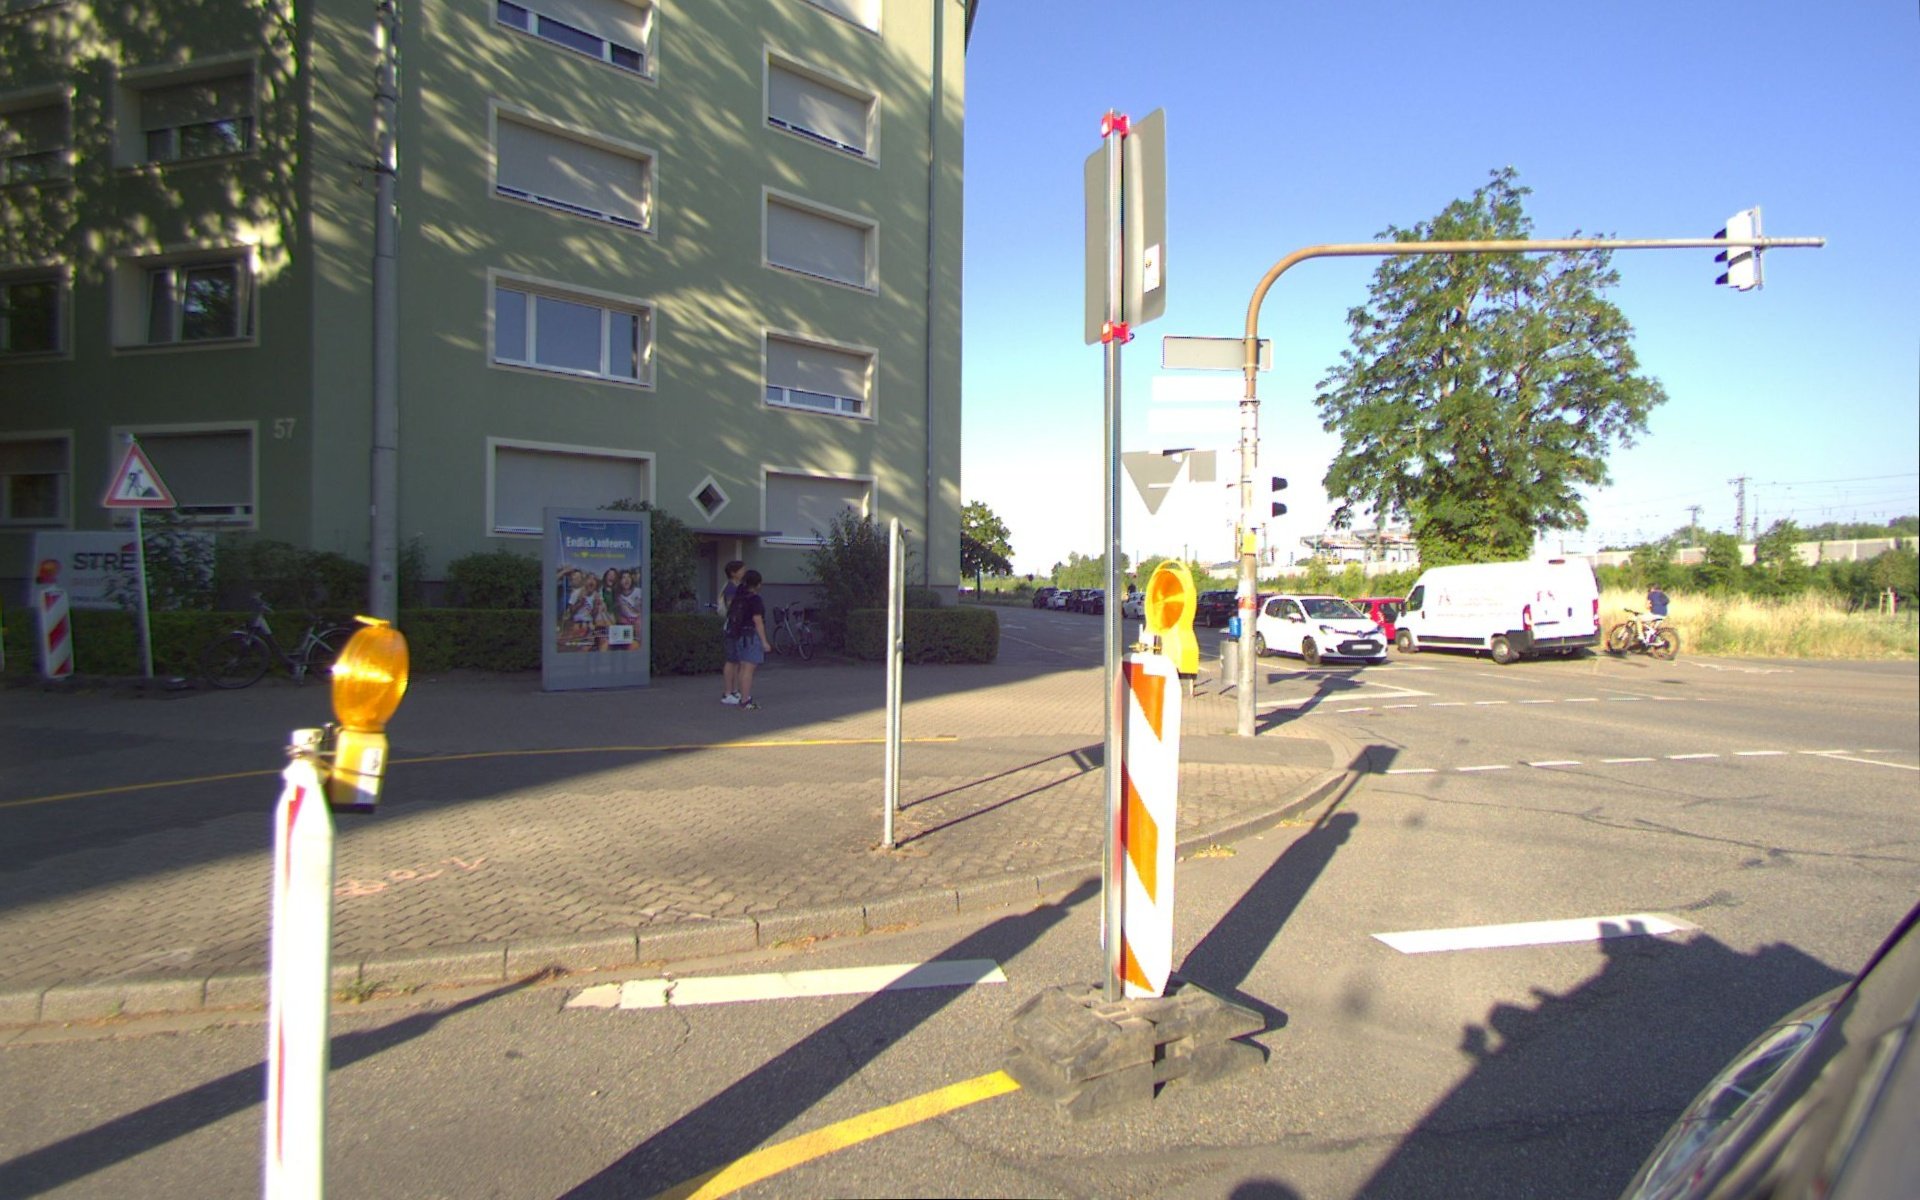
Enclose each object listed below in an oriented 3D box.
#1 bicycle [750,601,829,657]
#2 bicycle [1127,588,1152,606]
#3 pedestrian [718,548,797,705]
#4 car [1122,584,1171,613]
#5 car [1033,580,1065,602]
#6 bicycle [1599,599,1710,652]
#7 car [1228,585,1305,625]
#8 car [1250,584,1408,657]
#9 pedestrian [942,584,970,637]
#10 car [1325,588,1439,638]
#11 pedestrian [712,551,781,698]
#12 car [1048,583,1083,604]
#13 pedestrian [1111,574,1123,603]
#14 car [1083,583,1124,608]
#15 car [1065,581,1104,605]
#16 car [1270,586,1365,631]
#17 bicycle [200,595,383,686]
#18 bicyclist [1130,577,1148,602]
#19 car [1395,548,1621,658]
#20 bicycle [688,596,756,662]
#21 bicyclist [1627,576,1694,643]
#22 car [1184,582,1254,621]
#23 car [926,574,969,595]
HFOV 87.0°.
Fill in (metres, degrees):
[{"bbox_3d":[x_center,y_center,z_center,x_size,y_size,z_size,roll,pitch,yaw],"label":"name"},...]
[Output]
[{"bbox_3d":[-3.409,0.548,20.121,0.635,1.015,1.844,0,1,-44],"label":"bicycle"},{"bbox_3d":[12.169,-0.194,68.647,0.921,1.203,2.486,0,1,-10],"label":"bicycle"},{"bbox_3d":[-2.397,0.294,11.950,0.778,1.772,0.694,0,0,-26],"label":"pedestrian"},{"bbox_3d":[10.396,-0.106,56.556,1.673,1.545,3.588,0,1,-7],"label":"car"},{"bbox_3d":[7.222,-0.758,82.316,1.854,1.798,4.225,0,1,-6],"label":"car"},{"bbox_3d":[16.581,0.578,24.251,0.776,1.163,2.297,0,1,-11],"label":"bicycle"},{"bbox_3d":[12.469,0.180,41.331,1.631,1.549,3.585,0,1,-8],"label":"car"},{"bbox_3d":[8.038,0.382,22.424,1.671,1.487,3.782,0,1,-9],"label":"car"},{"bbox_3d":[-0.136,0.354,34.036,0.772,1.728,0.951,1,1,-7],"label":"pedestrian"},{"bbox_3d":[13.536,0.381,32.697,1.711,1.505,3.700,0,1,-8],"label":"car"},{"bbox_3d":[-2.675,0.292,12.628,0.778,1.772,0.695,0,0,-18],"label":"pedestrian"},{"bbox_3d":[7.931,-0.515,76.463,1.788,1.594,4.225,0,1,-6],"label":"car"},{"bbox_3d":[11.248,-0.810,72.535,0.603,2.039,0.731,0,0,-9],"label":"pedestrian"},{"bbox_3d":[9.260,-0.301,65.432,1.789,1.545,4.293,0,1,-4],"label":"car"},{"bbox_3d":[8.703,-0.492,71.118,1.788,1.658,4.225,0,1,-6],"label":"car"},{"bbox_3d":[13.003,0.264,37.041,1.711,1.549,3.823,0,1,-8],"label":"car"},{"bbox_3d":[-8.390,0.474,12.785,1.896,1.070,0.521,0,1,-32],"label":"bicycle"},{"bbox_3d":[12.115,-0.716,68.647,0.849,1.617,1.148,0,1,-9],"label":"bicyclist"},{"bbox_3d":[14.052,0.008,26.485,2.191,2.466,5.570,-3,1,-9],"label":"car"},{"bbox_3d":[-4.188,0.483,17.710,0.511,1.070,1.934,0,1,-34],"label":"bicycle"},{"bbox_3d":[16.691,0.212,24.135,0.835,1.566,1.023,0,1,-9],"label":"bicyclist"},{"bbox_3d":[11.681,0.027,45.896,1.631,1.680,4.012,0,1,-8],"label":"car"},{"bbox_3d":[-1.636,-2.008,132.937,5.219,2.441,2.269,-4,1,-7],"label":"car"}]
